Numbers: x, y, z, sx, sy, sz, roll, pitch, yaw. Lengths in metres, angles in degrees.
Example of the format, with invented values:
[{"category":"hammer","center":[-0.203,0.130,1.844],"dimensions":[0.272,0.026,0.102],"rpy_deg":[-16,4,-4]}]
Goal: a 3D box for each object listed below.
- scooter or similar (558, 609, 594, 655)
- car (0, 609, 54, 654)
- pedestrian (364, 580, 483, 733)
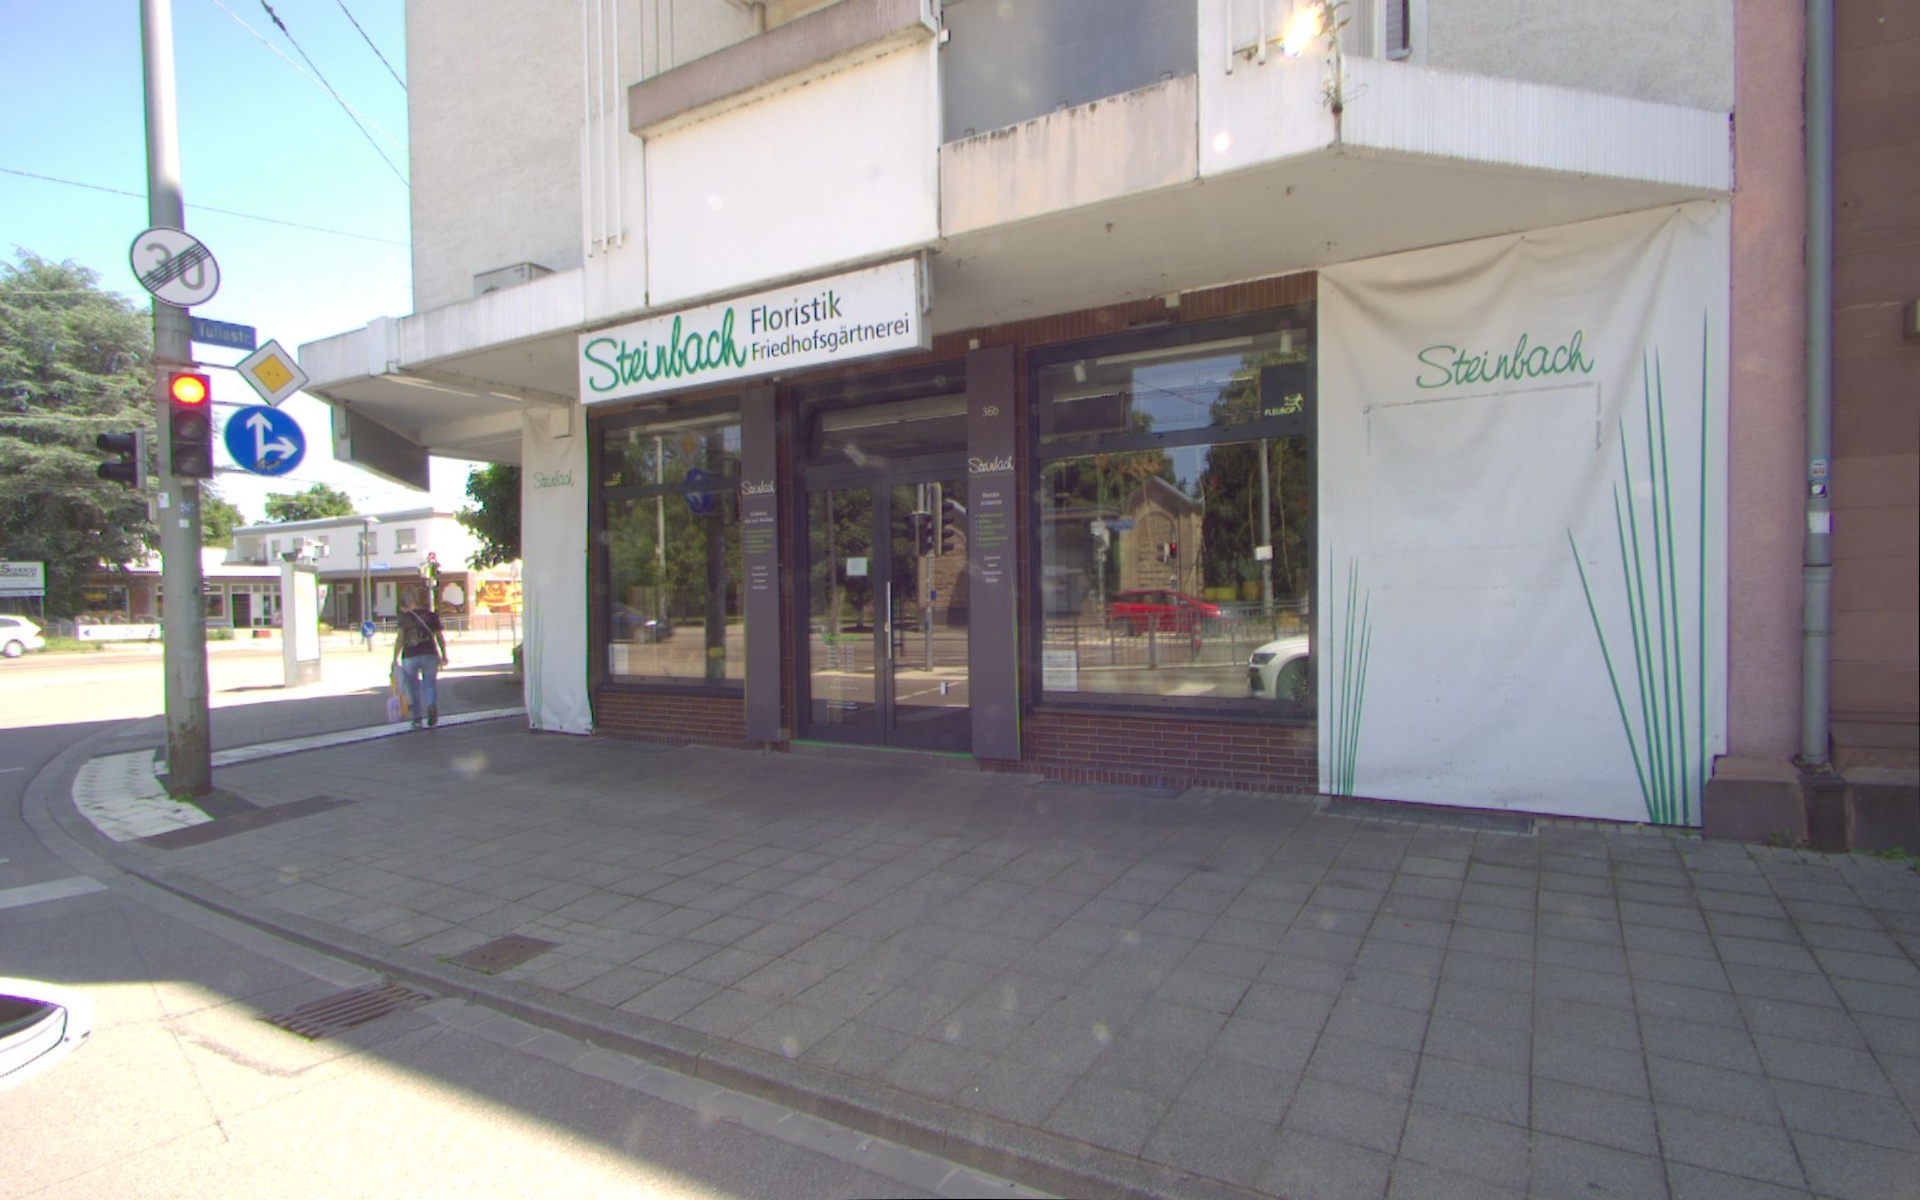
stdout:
[{"category":"scooter or similar","center":[-10.500,0.859,27.391],"dimensions":[0.387,1.229,1.255],"rpy_deg":[0,0,5]},{"category":"car","center":[-33.479,1.061,33.455],"dimensions":[1.791,1.509,4.492],"rpy_deg":[0,0,16]},{"category":"pedestrian","center":[-6.065,0.607,11.336],"dimensions":[0.816,1.606,0.822],"rpy_deg":[0,4,38]}]
